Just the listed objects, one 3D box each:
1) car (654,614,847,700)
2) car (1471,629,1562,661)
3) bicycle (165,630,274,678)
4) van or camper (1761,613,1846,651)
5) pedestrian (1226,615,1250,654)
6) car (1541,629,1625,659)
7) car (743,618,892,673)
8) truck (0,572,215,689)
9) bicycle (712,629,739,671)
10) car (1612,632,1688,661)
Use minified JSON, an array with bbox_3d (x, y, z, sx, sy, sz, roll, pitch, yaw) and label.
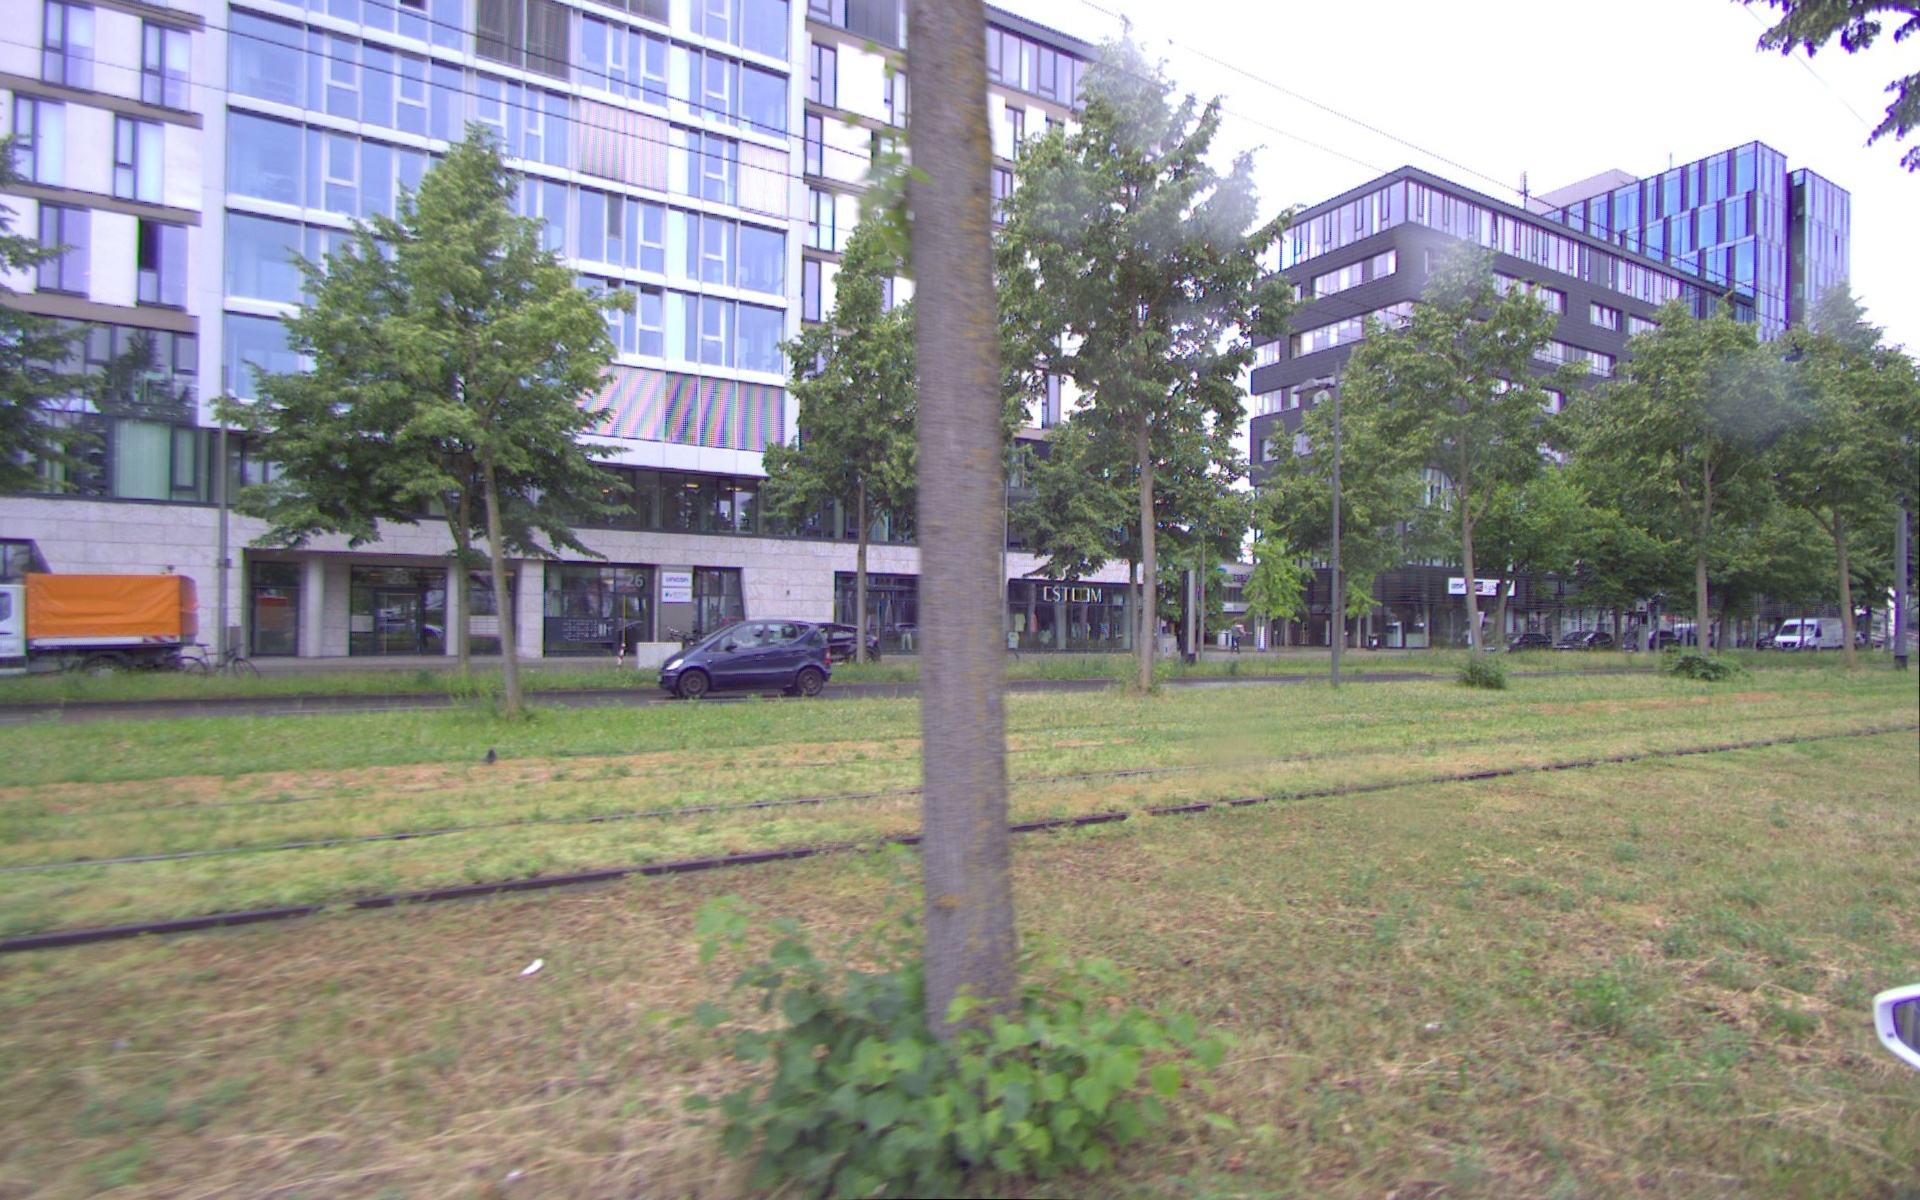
[{"bbox_3d":[-4.444,1.162,21.272,3.649,1.678,1.988,1,-1,-25],"label":"car"},{"bbox_3d":[26.122,2.081,47.135,3.953,1.397,1.984,1,-1,-31],"label":"car"},{"bbox_3d":[-15.382,1.109,20.920,1.734,0.958,0.597,1,-1,-27],"label":"bicycle"},{"bbox_3d":[54.003,2.038,64.291,5.782,2.346,2.421,1,-1,-31],"label":"van or camper"},{"bbox_3d":[14.291,1.768,51.598,0.843,2.007,0.793,1,0,-22],"label":"pedestrian"},{"bbox_3d":[31.465,2.214,50.711,3.953,1.397,1.984,1,-1,-31],"label":"car"},{"bbox_3d":[-4.154,1.296,29.380,3.943,1.484,1.845,1,-1,-31],"label":"car"},{"bbox_3d":[-19.693,0.619,21.061,6.236,2.322,2.414,1,-1,-31],"label":"truck"},{"bbox_3d":[-8.797,1.866,37.646,0.540,1.502,1.425,1,0,-31],"label":"bicycle"},{"bbox_3d":[36.615,2.441,53.286,4.192,1.468,1.693,1,-1,-31],"label":"car"}]
